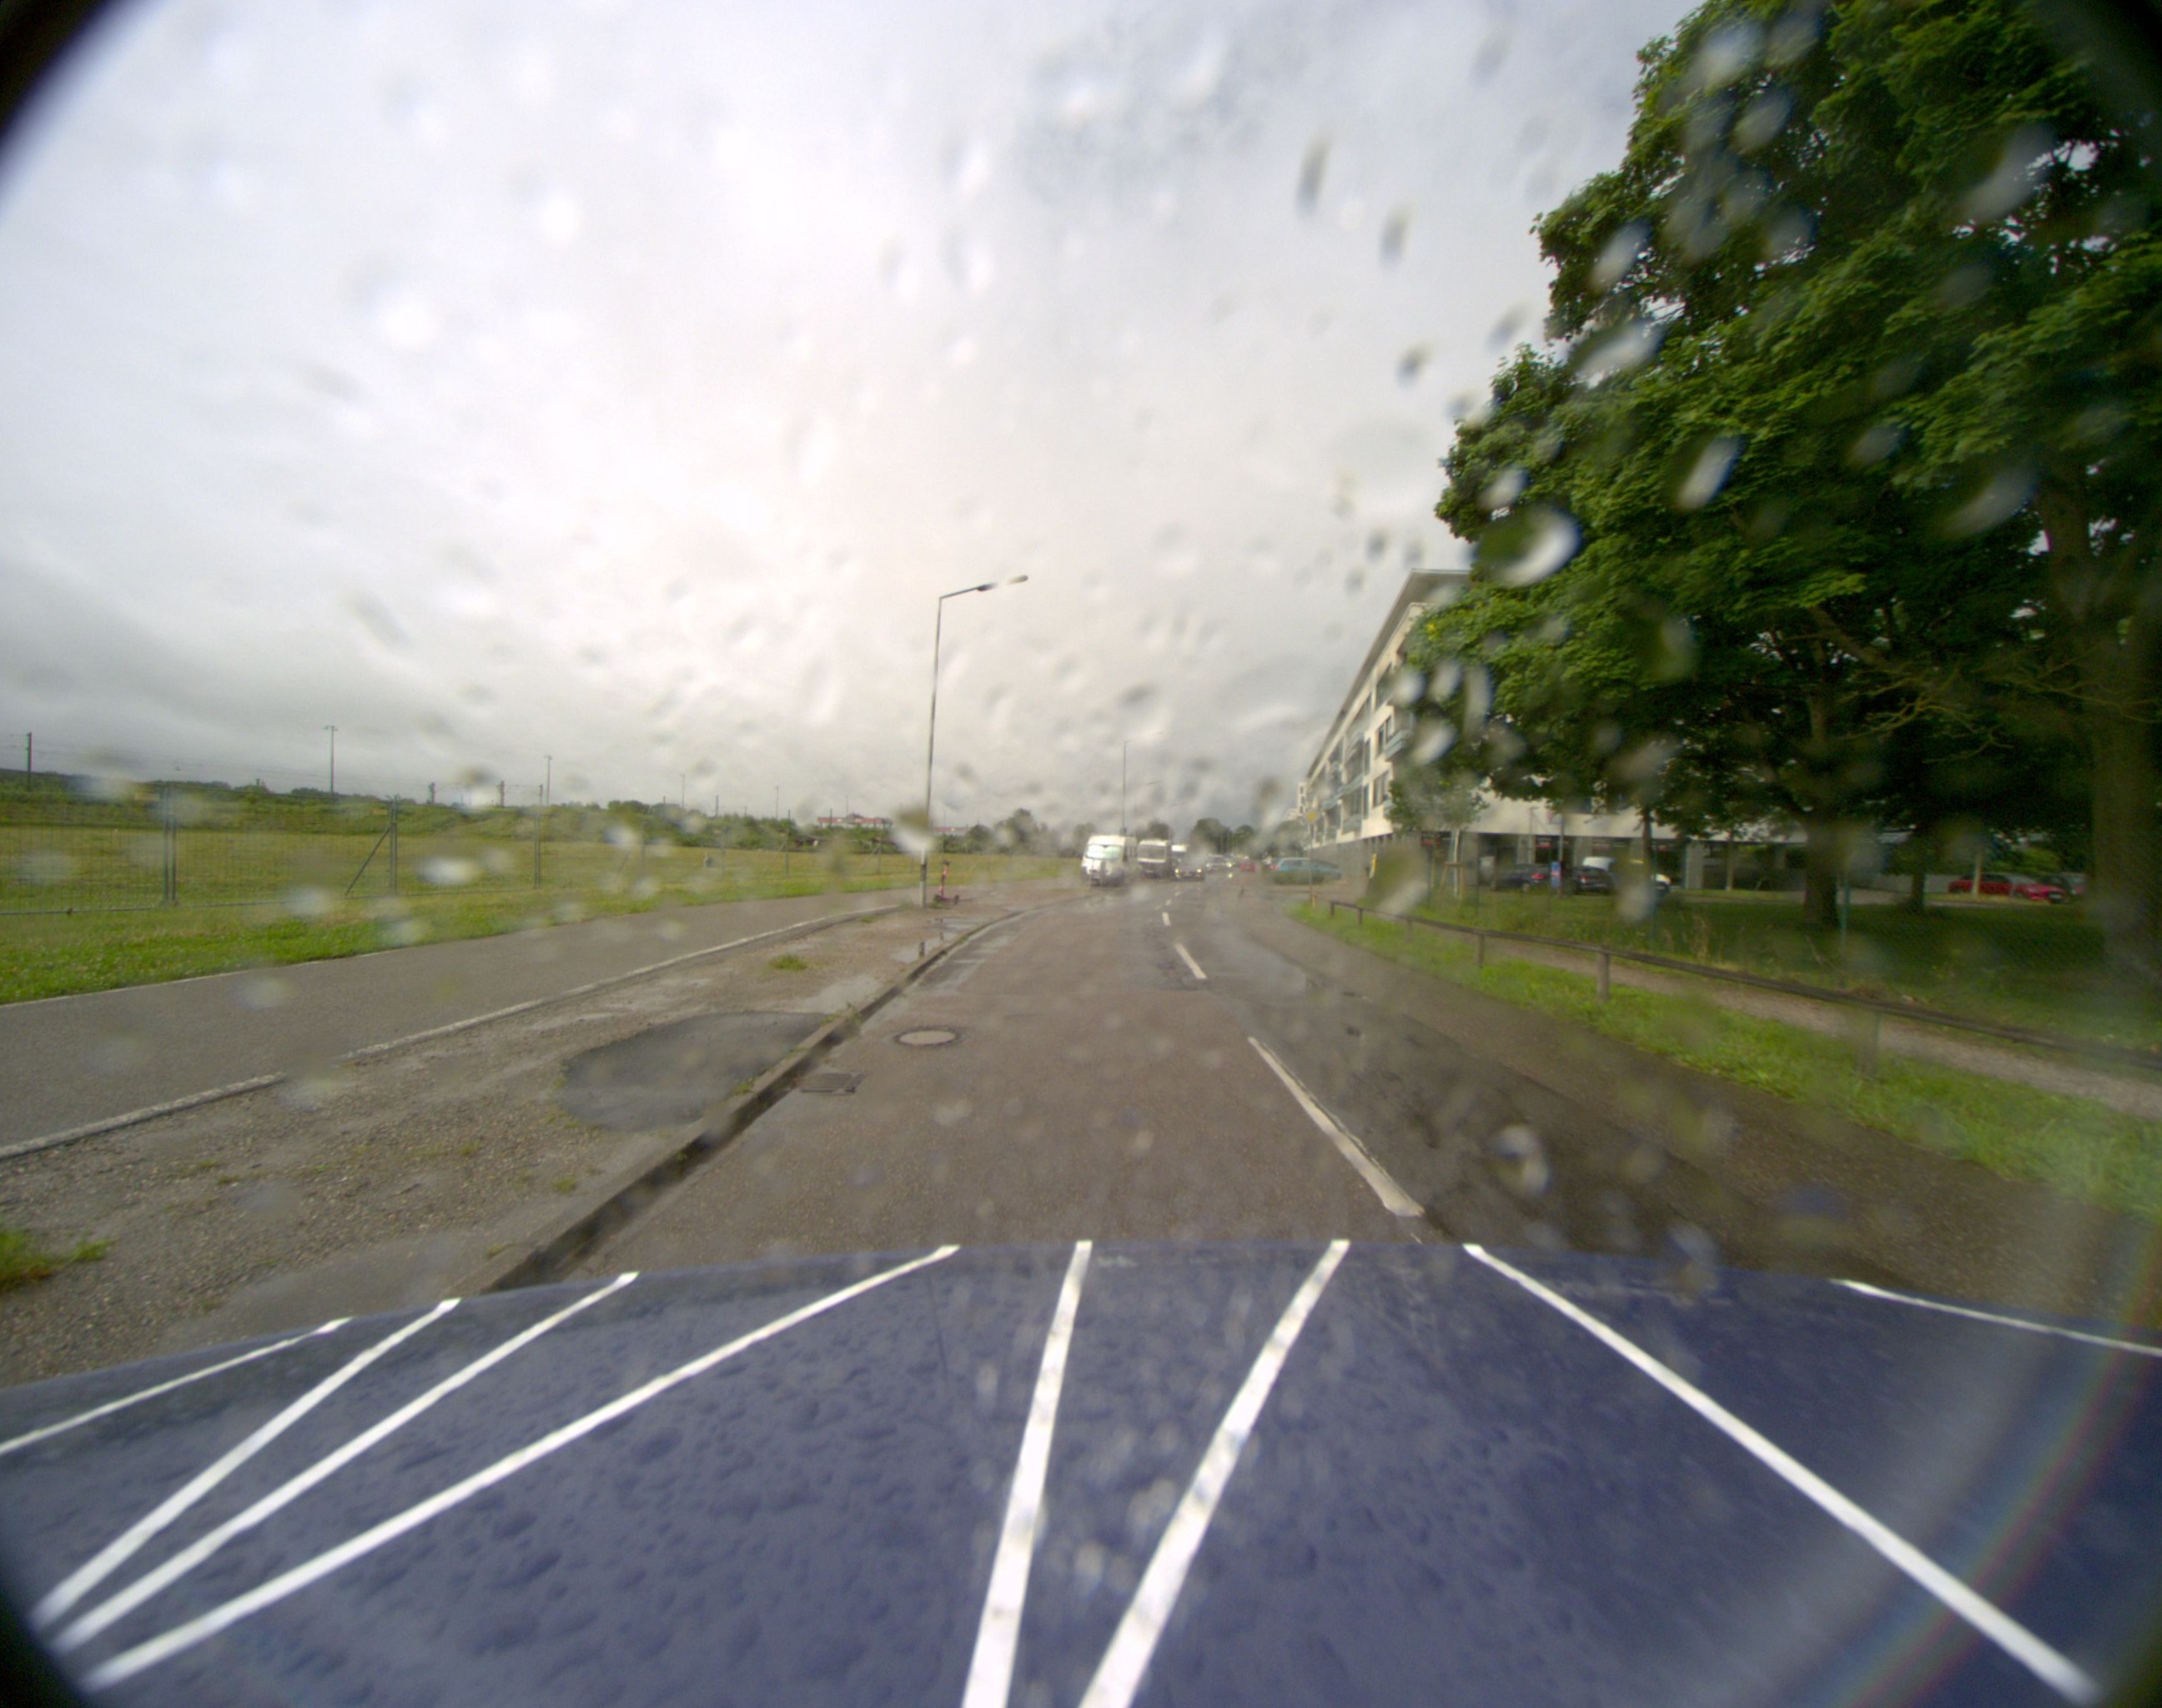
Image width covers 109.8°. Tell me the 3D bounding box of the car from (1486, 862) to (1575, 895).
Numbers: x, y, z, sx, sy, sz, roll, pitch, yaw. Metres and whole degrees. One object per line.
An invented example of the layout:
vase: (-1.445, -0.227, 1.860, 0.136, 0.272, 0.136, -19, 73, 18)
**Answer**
car: (22.033, 1.161, 37.436, 1.643, 1.388, 4.186, 0, 1, -4)

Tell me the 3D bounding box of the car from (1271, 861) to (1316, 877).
car: (18.628, 1.278, 66.711, 3.736, 1.365, 1.646, 0, 0, 14)

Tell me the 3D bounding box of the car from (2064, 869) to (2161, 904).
car: (53.906, 1.642, 38.875, 1.643, 1.526, 4.182, 0, 1, -4)

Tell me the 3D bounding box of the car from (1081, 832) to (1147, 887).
car: (1.789, 0.251, 38.434, 2.094, 2.458, 5.953, 3, 1, 13)

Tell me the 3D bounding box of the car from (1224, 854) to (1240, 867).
car: (19.260, 0.827, 96.960, 1.840, 1.510, 4.361, 2, 0, 12)

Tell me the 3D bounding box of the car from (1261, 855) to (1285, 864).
car: (32.280, 0.973, 127.957, 3.794, 1.362, 1.746, -1, 0, 13)

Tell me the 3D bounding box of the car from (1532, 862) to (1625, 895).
car: (24.479, 1.180, 37.582, 1.688, 1.388, 4.126, 0, 1, -4)

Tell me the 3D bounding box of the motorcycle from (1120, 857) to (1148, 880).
motorcycle: (3.194, 0.864, 45.749, 1.647, 1.367, 0.721, 1, 1, 0)

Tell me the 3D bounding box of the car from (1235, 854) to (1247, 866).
car: (28.218, 1.109, 134.213, 1.997, 2.002, 4.003, -1, 0, 11)

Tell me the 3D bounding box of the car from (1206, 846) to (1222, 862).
car: (19.449, 0.053, 110.736, 1.996, 2.228, 4.568, 2, 0, 14)

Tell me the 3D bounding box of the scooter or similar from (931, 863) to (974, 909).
scooter or similar: (-3.528, 0.872, 20.958, 0.491, 1.208, 1.342, 2, 1, 22)

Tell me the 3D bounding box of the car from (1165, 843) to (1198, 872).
car: (9.458, 0.345, 71.085, 2.071, 2.514, 6.665, 3, 0, 15)

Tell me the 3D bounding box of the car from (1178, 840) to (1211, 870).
car: (12.237, 0.135, 81.536, 2.473, 2.939, 6.895, 3, 1, 16)

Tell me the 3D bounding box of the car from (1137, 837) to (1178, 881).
car: (5.555, 0.305, 54.509, 2.147, 2.867, 5.281, 4, 1, 12)

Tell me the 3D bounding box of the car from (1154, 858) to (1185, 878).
car: (7.273, 1.096, 62.085, 1.732, 1.485, 4.447, 3, 1, 15)

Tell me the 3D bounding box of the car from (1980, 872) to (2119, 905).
car: (49.527, 1.720, 39.012, 1.643, 1.388, 4.182, 0, 1, -4)

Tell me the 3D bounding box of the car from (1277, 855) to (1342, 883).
car: (14.197, 0.953, 47.373, 3.815, 1.624, 1.757, -1, 0, 16)

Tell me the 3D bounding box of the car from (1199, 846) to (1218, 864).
car: (16.504, 0.104, 98.334, 1.996, 2.228, 4.568, 2, 0, 14)

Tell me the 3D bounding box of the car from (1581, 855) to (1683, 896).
car: (27.044, 0.992, 37.502, 1.643, 1.825, 4.347, 0, 1, -4)

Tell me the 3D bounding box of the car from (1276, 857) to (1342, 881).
car: (15.550, 1.000, 52.030, 4.179, 1.540, 1.861, -1, 0, 13)

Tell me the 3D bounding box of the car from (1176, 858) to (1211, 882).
car: (7.441, 1.032, 50.044, 1.872, 1.510, 4.362, 0, -1, 13)

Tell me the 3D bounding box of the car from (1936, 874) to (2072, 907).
car: (46.746, 1.788, 38.629, 1.643, 1.388, 4.182, 0, 1, -4)

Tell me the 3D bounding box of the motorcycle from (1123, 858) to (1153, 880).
motorcycle: (3.529, 0.905, 46.952, 1.676, 1.188, 0.648, 4, 2, -9)

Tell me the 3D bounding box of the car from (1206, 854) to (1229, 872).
car: (13.730, 0.860, 76.370, 2.008, 1.695, 4.334, 2, 0, 14)

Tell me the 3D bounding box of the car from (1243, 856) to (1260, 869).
car: (19.795, 1.001, 88.011, 1.659, 1.460, 3.393, 2, 0, 16)
